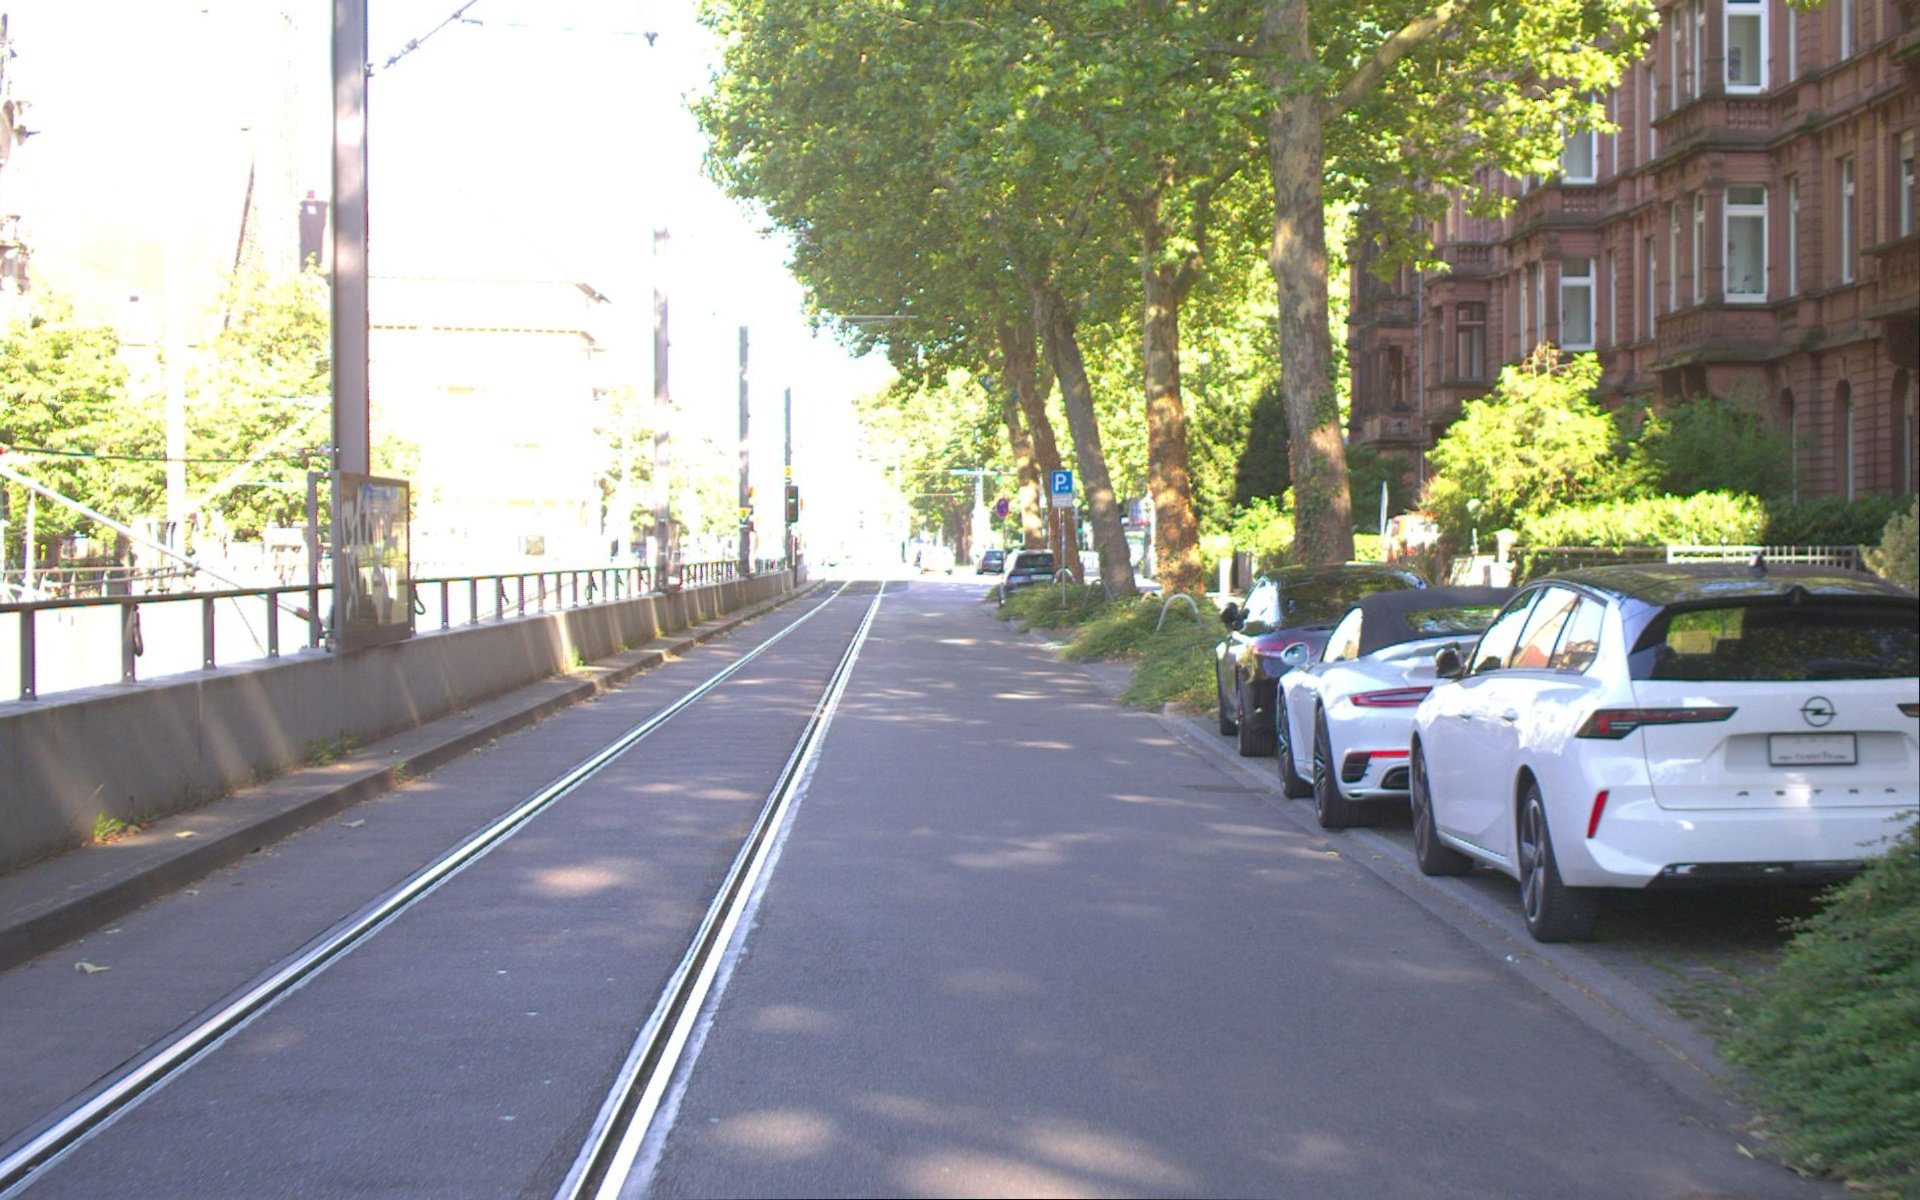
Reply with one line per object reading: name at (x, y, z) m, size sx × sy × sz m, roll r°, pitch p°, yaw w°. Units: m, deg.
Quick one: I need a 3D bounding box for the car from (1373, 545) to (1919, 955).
car at (3.004, 0.506, 14.687) m, size 1.802 × 1.472 × 4.647 m, roll 0°, pitch 1°, yaw -1°

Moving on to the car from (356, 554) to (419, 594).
car at (-23.464, -1.077, 141.035) m, size 1.716 × 1.550 × 4.510 m, roll 3°, pitch 1°, yaw 1°

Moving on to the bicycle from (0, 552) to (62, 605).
bicycle at (-22.742, -0.532, 83.422) m, size 1.731 × 1.275 × 0.599 m, roll 0°, pitch 1°, yaw 5°

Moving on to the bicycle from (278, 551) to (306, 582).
bicycle at (-23.378, -1.166, 120.359) m, size 0.485 × 1.019 × 1.894 m, roll 2°, pitch 1°, yaw -25°

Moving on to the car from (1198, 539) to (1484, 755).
car at (2.882, 0.296, 26.891) m, size 1.732 × 1.531 × 4.805 m, roll 0°, pitch 1°, yaw 0°

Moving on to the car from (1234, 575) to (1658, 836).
car at (2.691, 0.534, 19.907) m, size 1.830 × 1.322 × 4.000 m, roll 0°, pitch 1°, yaw -1°

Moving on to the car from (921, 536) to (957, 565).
car at (-1.112, -2.633, 182.164) m, size 1.745 × 1.457 × 3.645 m, roll 3°, pitch 1°, yaw -2°

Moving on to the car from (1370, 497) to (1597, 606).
car at (10.580, -0.991, 69.696) m, size 4.175 × 2.007 × 2.000 m, roll -2°, pitch 1°, yaw -2°

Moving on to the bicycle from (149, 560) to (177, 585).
bicycle at (-26.553, -0.928, 114.522) m, size 0.416 × 0.797 × 1.887 m, roll 3°, pitch 1°, yaw 2°

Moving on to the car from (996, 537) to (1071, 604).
car at (1.780, -0.734, 84.398) m, size 1.616 × 1.582 × 4.417 m, roll -1°, pitch 1°, yaw -2°
